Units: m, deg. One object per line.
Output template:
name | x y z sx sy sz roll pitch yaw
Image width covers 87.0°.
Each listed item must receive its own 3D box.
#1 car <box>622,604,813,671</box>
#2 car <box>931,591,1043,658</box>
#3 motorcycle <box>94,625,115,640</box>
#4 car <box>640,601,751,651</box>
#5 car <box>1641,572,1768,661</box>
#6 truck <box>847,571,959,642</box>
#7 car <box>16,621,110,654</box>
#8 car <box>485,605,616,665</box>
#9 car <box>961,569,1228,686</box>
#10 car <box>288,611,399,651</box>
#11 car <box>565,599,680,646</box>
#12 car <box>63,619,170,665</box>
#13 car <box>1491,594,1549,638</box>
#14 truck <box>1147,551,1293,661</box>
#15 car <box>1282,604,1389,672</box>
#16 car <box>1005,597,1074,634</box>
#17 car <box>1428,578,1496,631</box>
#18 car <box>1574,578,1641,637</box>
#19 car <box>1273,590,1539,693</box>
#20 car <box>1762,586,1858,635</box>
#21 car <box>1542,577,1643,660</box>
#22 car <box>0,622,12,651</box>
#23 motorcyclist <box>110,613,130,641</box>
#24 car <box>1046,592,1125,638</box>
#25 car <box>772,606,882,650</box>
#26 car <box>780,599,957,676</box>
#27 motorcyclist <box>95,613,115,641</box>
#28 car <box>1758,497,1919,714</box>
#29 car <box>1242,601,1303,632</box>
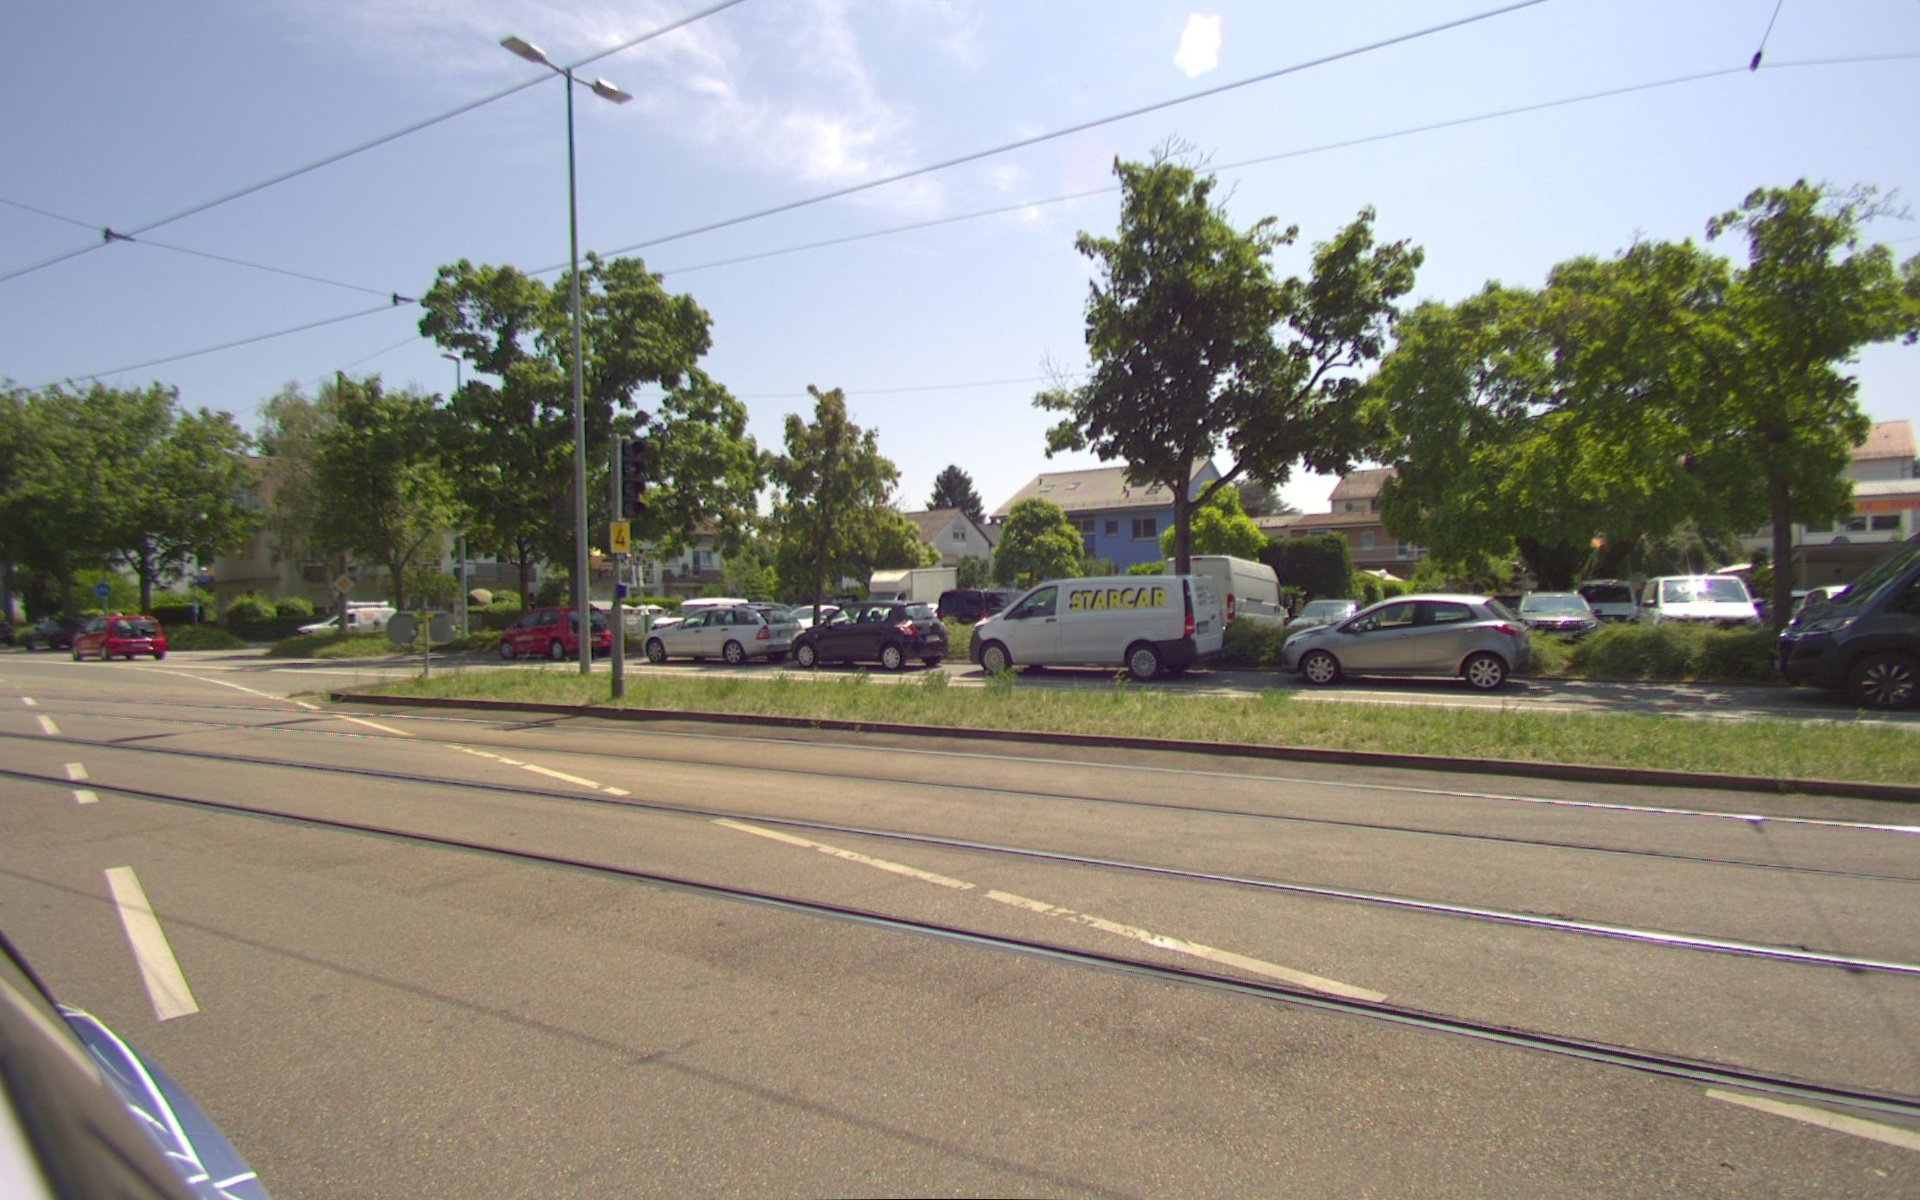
car | -6.155 0.928 25.524 4.752 1.437 1.707 -1 3 30
car | 0.945 0.738 32.739 1.849 2.010 4.180 -1 0 30
motorcycle | -49.134 1.880 58.129 1.366 0.831 0.522 -1 2 33
car | -10.358 0.978 39.910 1.668 1.849 4.234 -1 0 32
car | 16.926 0.350 23.222 1.789 1.827 4.686 -1 0 30
truck | -2.701 0.247 50.314 2.142 3.252 6.930 -1 0 30
car | -43.089 1.790 48.593 4.789 1.467 1.882 -1 1 29
car | -11.659 0.946 28.766 3.717 1.557 1.658 -1 1 34
car | 2.542 0.484 19.687 4.792 1.951 1.848 -1 3 34
car | -28.515 1.413 46.882 4.170 1.719 1.743 -1 -1 -42
car | -14.379 0.916 43.324 2.053 1.871 4.417 -1 0 30
car | -27.706 1.342 33.219 3.593 1.420 1.645 -1 -1 32
car | 20.048 0.544 36.144 1.506 1.414 4.095 -1 0 33
truck | 7.508 0.161 28.764 2.424 2.780 5.535 -1 0 32
car | 10.038 0.943 26.881 1.791 1.614 4.345 -1 0 32
car | 3.711 0.690 46.825 1.726 1.587 3.720 -1 0 31
car | 18.453 0.132 37.109 1.773 1.834 4.095 -1 0 33
car | 21.616 0.220 33.812 1.773 1.834 4.095 -1 0 33
car | 7.287 0.643 16.645 3.827 1.450 1.395 -1 3 32
car | 26.698 0.306 31.896 1.773 1.390 4.095 -1 0 33
car | 14.953 0.404 24.113 1.849 1.779 4.180 -1 0 30
car | -53.099 1.992 54.698 4.113 1.498 1.664 -1 1 31
motorcyclist | -47.100 1.501 56.740 0.660 1.514 0.582 -1 2 33
car | 5.563 0.627 44.530 1.964 1.834 4.098 -1 1 31
car | -4.936 1.028 38.079 1.926 1.520 4.089 -1 0 33
car | -2.092 0.814 22.777 3.774 1.495 1.601 -1 3 34
motorcyclist | -49.061 1.547 58.061 0.723 1.514 0.582 -1 2 33
car | 13.960 -0.043 12.501 6.152 2.676 2.381 -1 3 32
car | 13.282 0.698 42.856 1.506 1.179 3.716 -1 0 33
